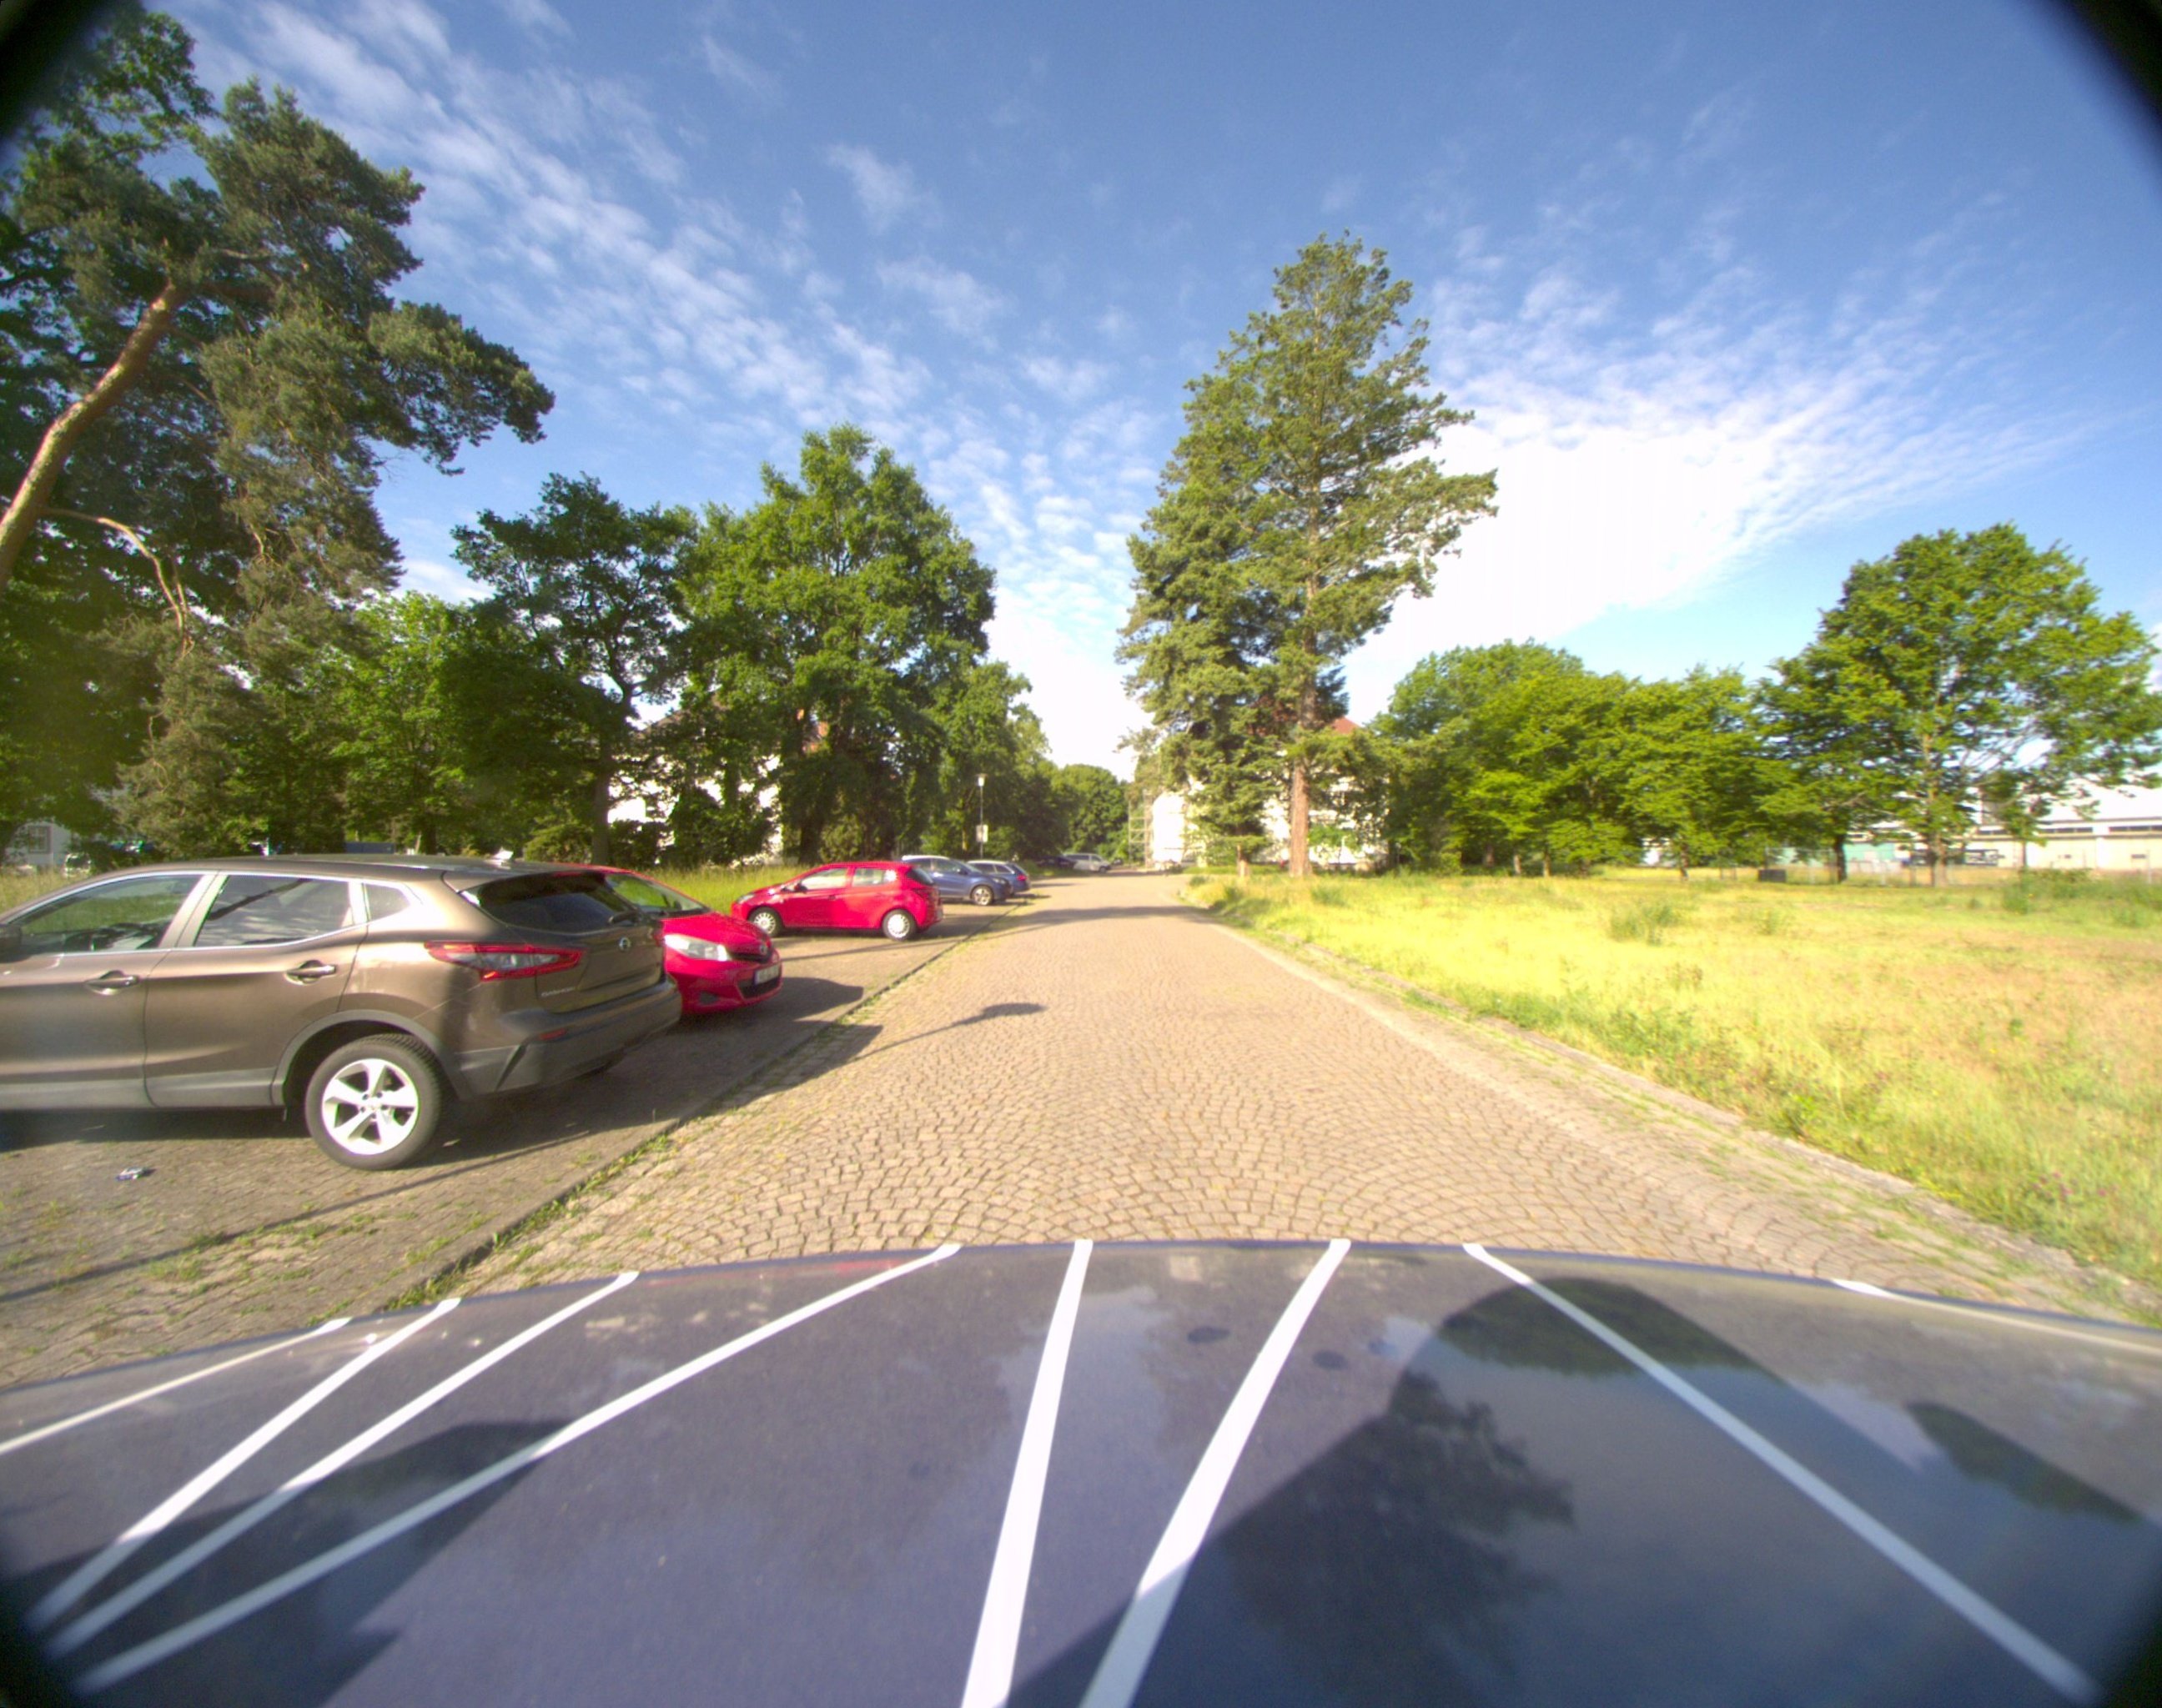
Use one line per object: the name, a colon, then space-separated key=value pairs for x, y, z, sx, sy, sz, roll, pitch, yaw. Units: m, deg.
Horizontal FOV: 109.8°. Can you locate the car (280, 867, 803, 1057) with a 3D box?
car: x=-4.923 y=0.930 z=7.316 sx=3.834 sy=1.530 sz=1.703 roll=1 pitch=0 yaw=2

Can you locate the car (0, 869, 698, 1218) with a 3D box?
car: x=-4.766 y=0.912 z=4.465 sx=4.117 sy=1.601 sz=1.786 roll=0 pitch=0 yaw=0

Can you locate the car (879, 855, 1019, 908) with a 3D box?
car: x=-4.288 y=0.881 z=25.060 sx=4.273 sy=1.589 sz=1.651 roll=1 pitch=0 yaw=1

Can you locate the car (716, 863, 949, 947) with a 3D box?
car: x=-4.722 y=0.947 z=14.778 sx=3.997 sy=1.487 sz=1.540 roll=-1 pitch=0 yaw=1

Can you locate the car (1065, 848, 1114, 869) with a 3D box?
car: x=0.827 y=0.504 z=78.515 sx=4.993 sy=2.123 sz=2.164 roll=0 pitch=0 yaw=-1

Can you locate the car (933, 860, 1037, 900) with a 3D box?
car: x=-3.722 y=0.995 z=29.818 sx=3.809 sy=1.458 sz=1.747 roll=-1 pitch=0 yaw=2
